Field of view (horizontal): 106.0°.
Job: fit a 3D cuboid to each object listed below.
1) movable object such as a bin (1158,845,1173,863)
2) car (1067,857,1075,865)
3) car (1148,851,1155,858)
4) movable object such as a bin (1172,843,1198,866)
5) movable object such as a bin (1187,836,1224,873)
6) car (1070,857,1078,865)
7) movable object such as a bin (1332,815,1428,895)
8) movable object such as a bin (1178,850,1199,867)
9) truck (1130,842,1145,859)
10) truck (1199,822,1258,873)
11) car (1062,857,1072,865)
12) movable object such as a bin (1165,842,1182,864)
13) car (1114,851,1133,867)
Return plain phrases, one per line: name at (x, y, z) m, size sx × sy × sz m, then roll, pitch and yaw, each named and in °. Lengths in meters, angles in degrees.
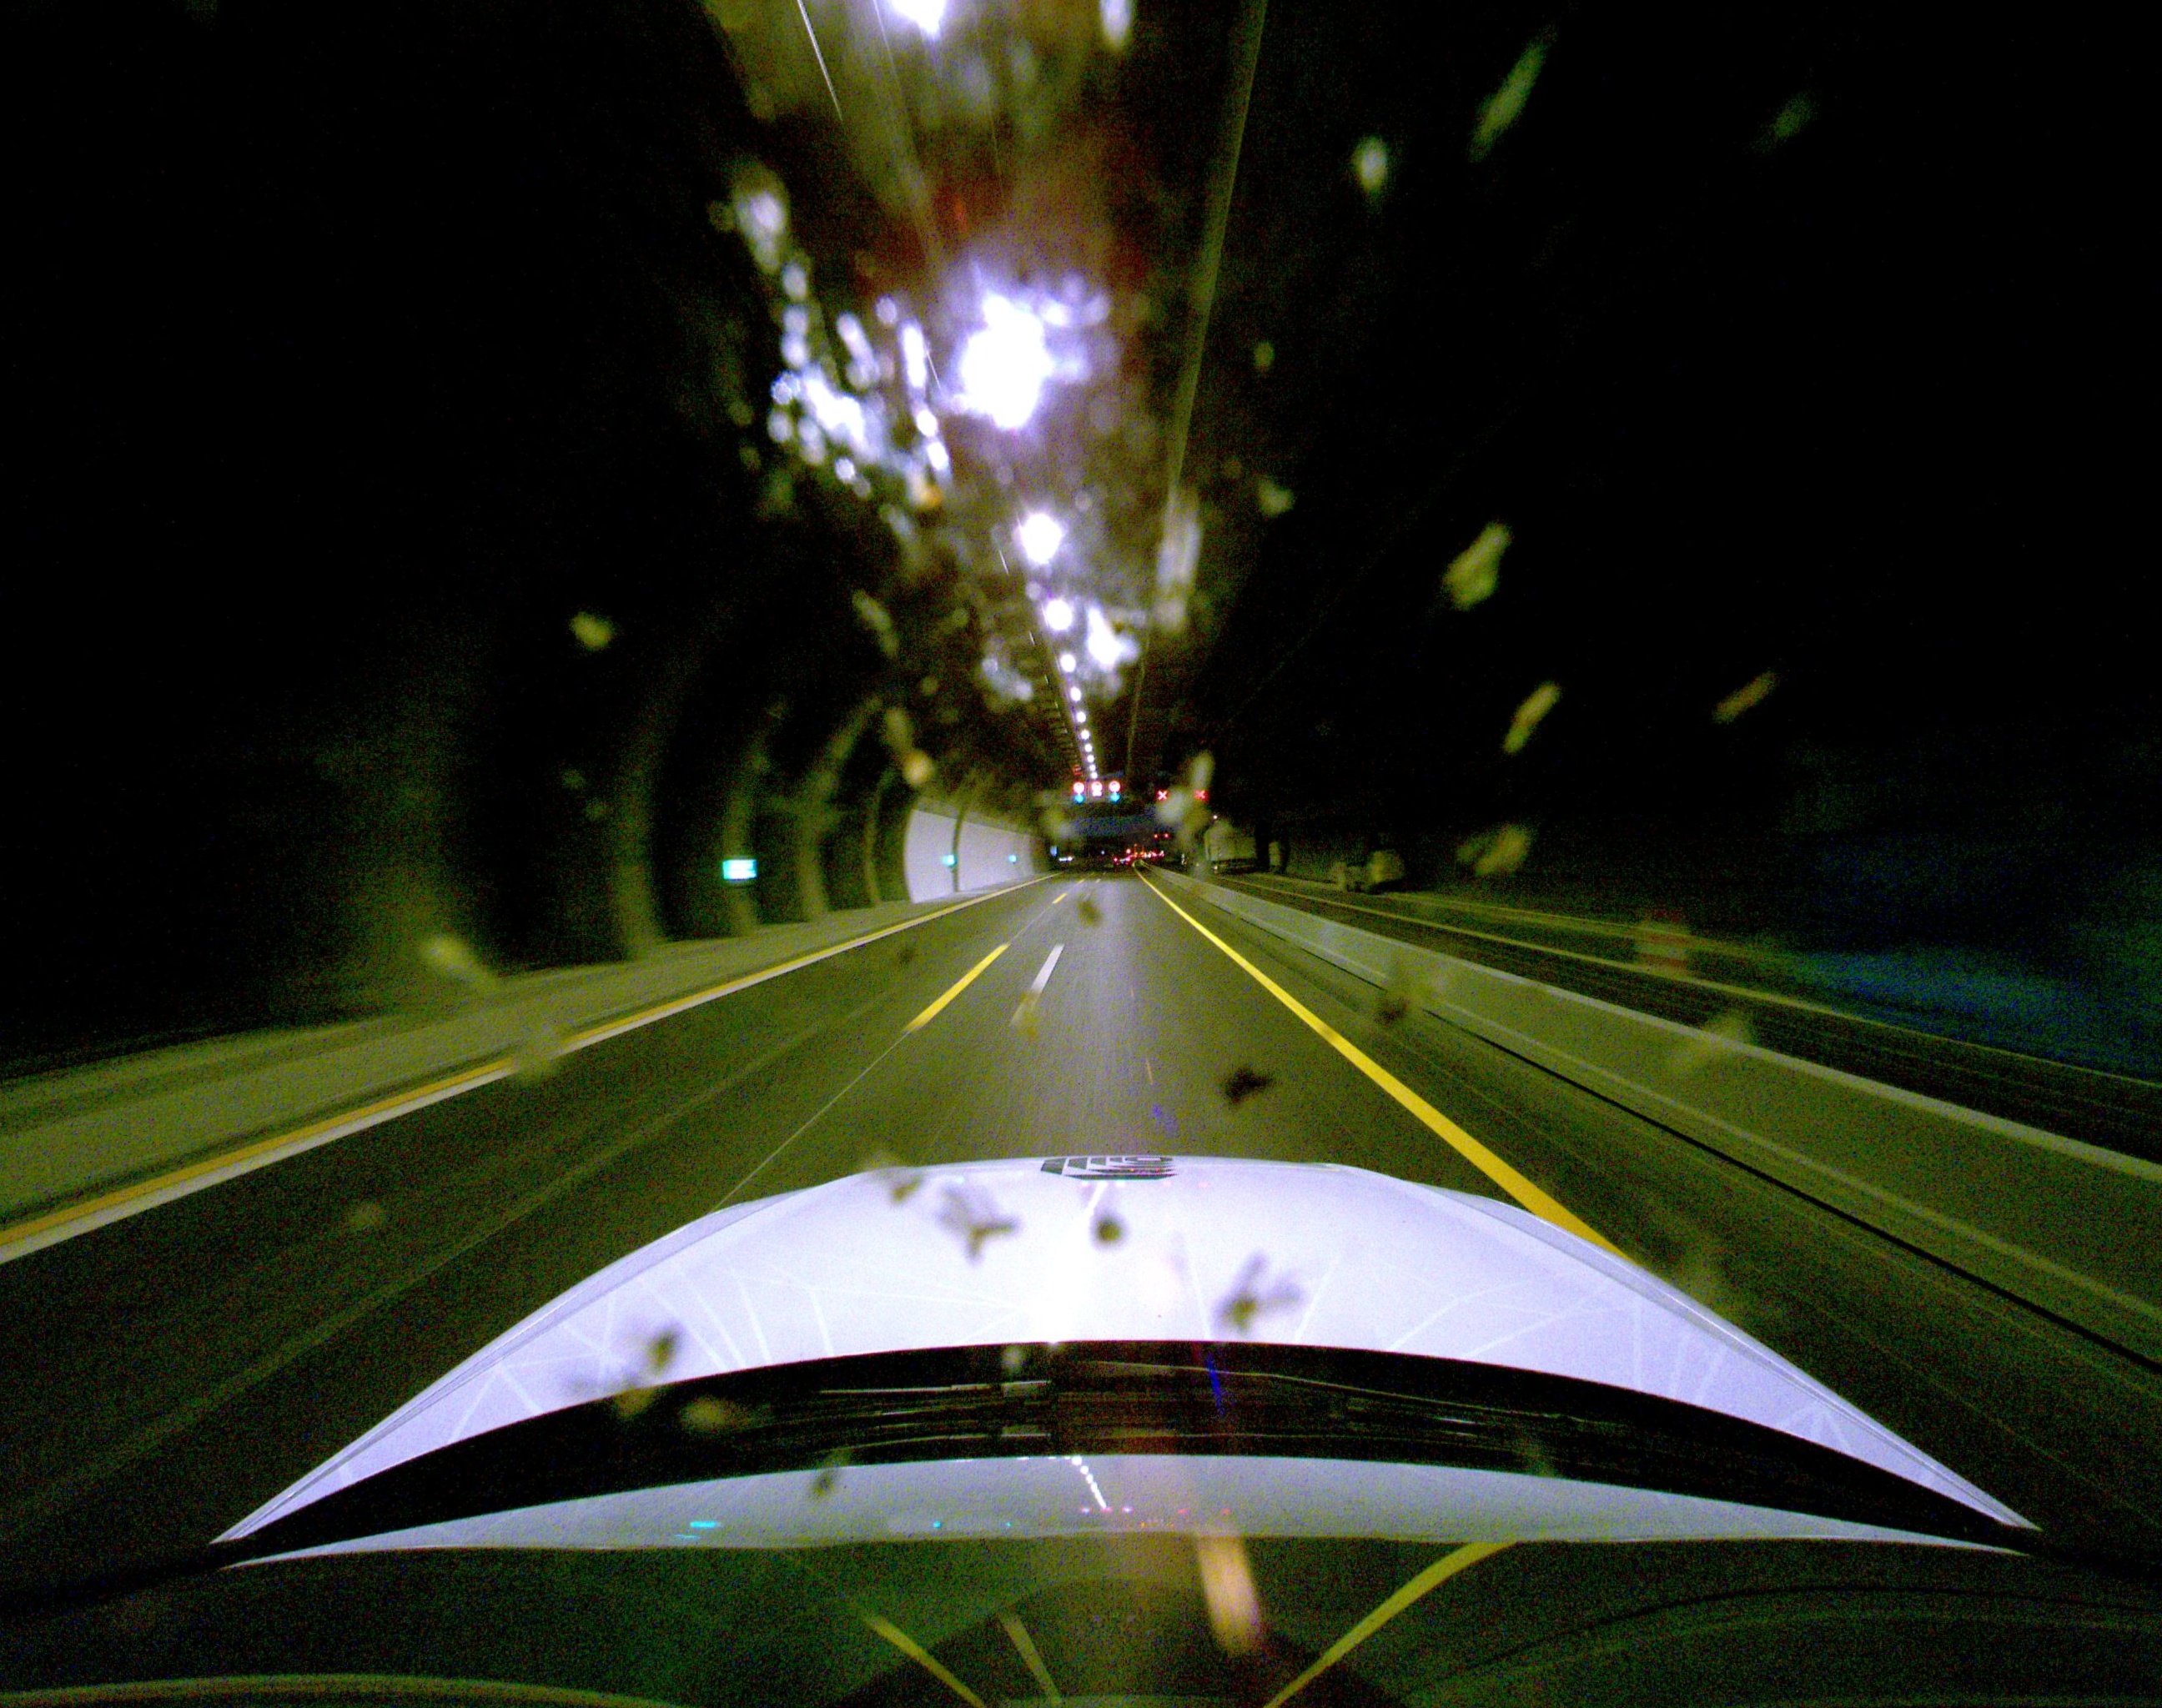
movable object such as a bin at (16.641, 0.002, 161.070) m, size 2.725 × 3.455 × 6.953 m, roll -1°, pitch 0°, yaw 3°
car at (-2.511, 1.774, 207.929) m, size 1.986 × 2.014 × 4.002 m, roll -1°, pitch 0°, yaw 2°
car at (21.543, 0.251, 249.990) m, size 1.985 × 2.013 × 4.004 m, roll -1°, pitch 0°, yaw 3°
movable object such as a bin at (13.006, 0.049, 102.568) m, size 2.725 × 2.754 × 7.056 m, roll -1°, pitch 0°, yaw 3°
movable object such as a bin at (10.059, 0.044, 66.316) m, size 2.229 × 2.794 × 7.237 m, roll -1°, pitch 0°, yaw 2°
car at (-1.899, 1.812, 214.842) m, size 1.986 × 2.014 × 4.002 m, roll -1°, pitch 0°, yaw 2°
movable object such as a bin at (10.032, 0.039, 27.649) m, size 1.750 × 2.380 × 4.001 m, roll -4°, pitch -1°, yaw 1°
movable object such as a bin at (11.841, 0.541, 89.887) m, size 1.971 × 1.816 × 3.838 m, roll -1°, pitch 0°, yaw 2°
truck at (16.915, -1.110, 244.698) m, size 4.526 × 4.987 × 9.607 m, roll -1°, pitch 0°, yaw 3°
truck at (10.140, -0.419, 56.820) m, size 2.881 × 3.272 × 8.405 m, roll -1°, pitch 0°, yaw 2°
car at (-3.368, 1.720, 197.851) m, size 1.986 × 2.014 × 4.002 m, roll -1°, pitch 0°, yaw 2°
movable object such as a bin at (16.088, -0.197, 141.905) m, size 2.725 × 3.679 × 6.339 m, roll -1°, pitch 0°, yaw 3°
car at (4.563, 0.535, 87.982) m, size 1.881 × 1.607 × 4.001 m, roll -1°, pitch 0°, yaw 1°
